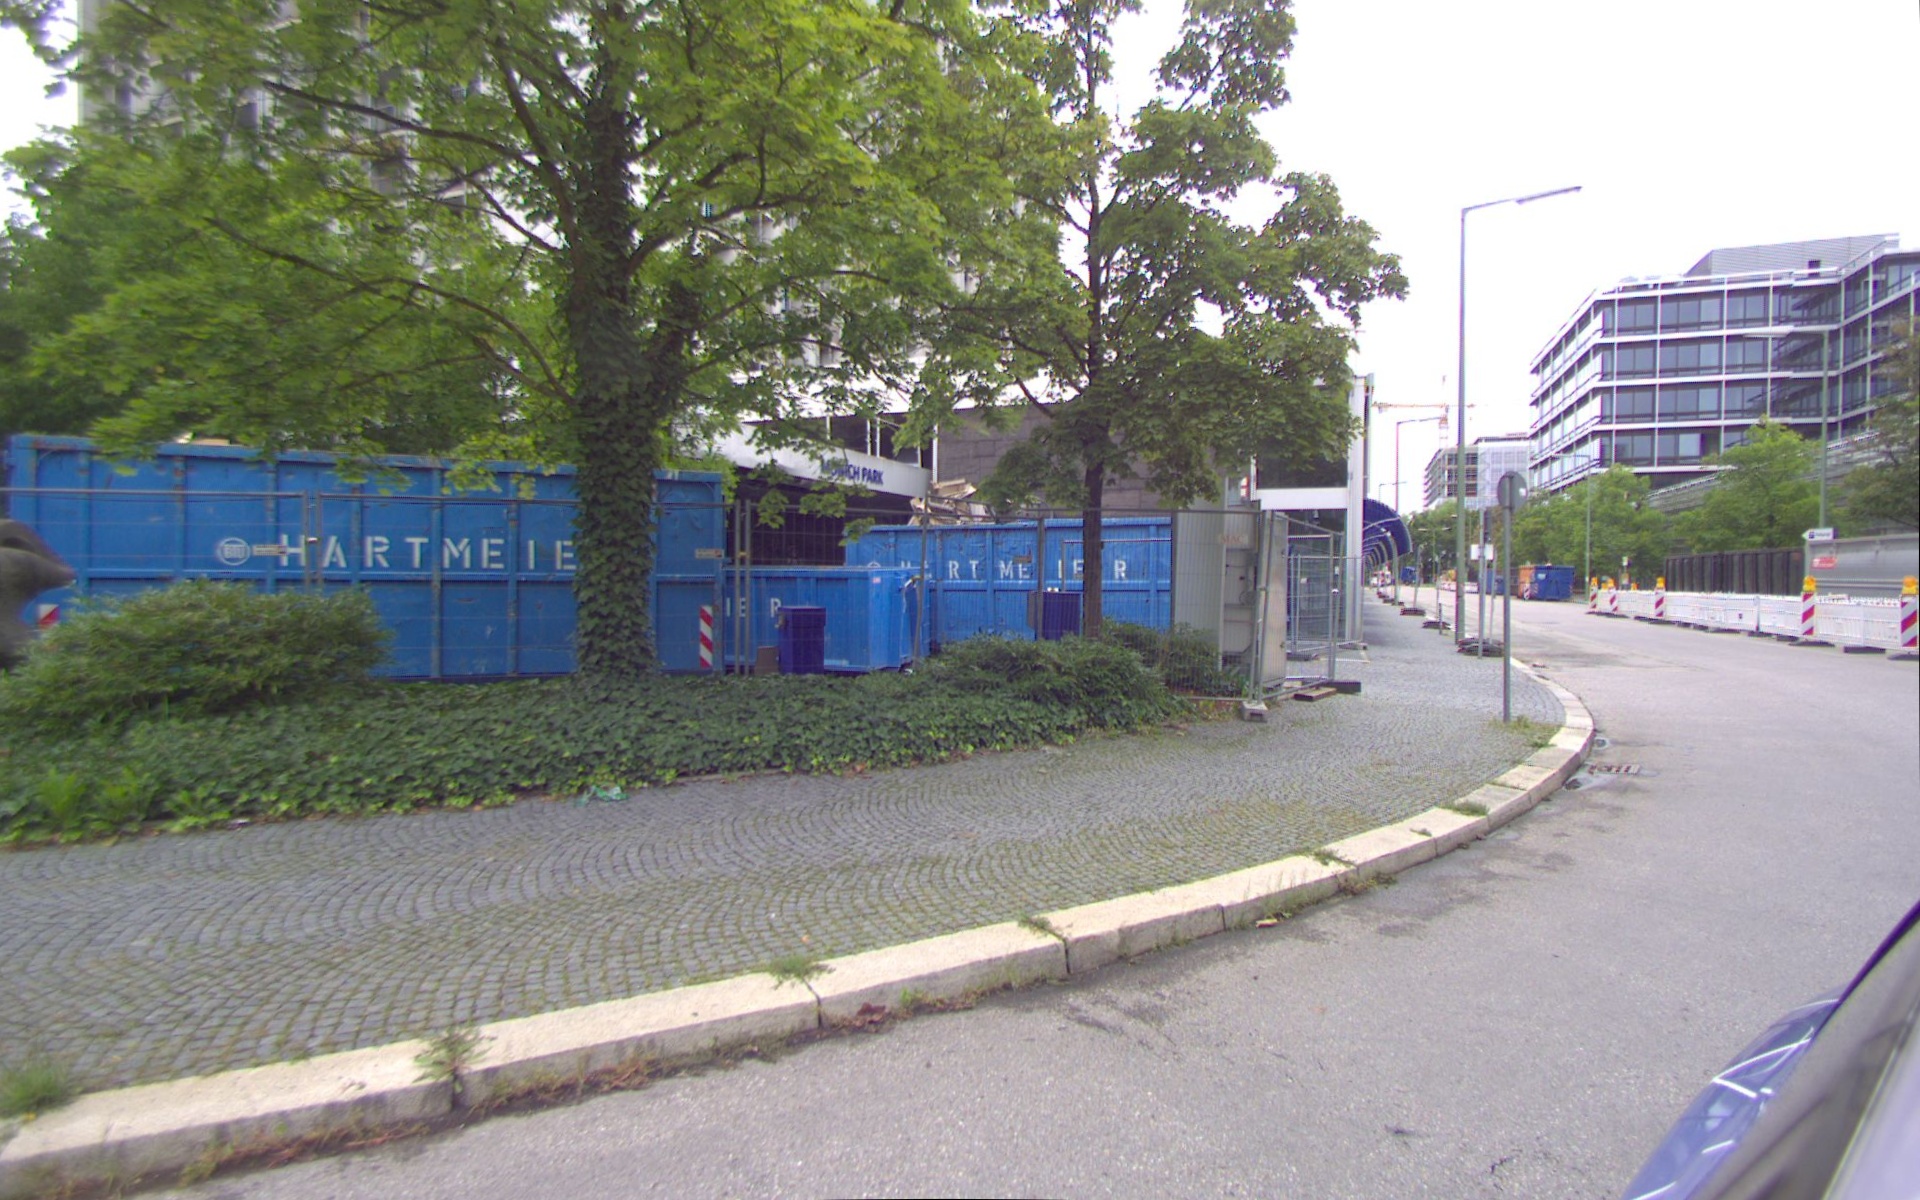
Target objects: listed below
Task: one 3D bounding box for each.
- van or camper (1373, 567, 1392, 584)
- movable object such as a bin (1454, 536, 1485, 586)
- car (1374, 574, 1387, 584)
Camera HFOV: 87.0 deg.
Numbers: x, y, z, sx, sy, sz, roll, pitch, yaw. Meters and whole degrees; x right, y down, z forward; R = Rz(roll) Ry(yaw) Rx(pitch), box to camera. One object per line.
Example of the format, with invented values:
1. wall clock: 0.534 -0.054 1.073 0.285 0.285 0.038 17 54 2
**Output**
1. van or camper: 69.922 -4.082 167.465 2.641 2.801 6.857 1 2 25
2. movable object such as a bin: 67.311 -5.128 133.826 3.209 6.401 8.270 1 1 24
3. car: 67.298 -3.354 161.816 1.893 1.657 3.969 1 2 23
